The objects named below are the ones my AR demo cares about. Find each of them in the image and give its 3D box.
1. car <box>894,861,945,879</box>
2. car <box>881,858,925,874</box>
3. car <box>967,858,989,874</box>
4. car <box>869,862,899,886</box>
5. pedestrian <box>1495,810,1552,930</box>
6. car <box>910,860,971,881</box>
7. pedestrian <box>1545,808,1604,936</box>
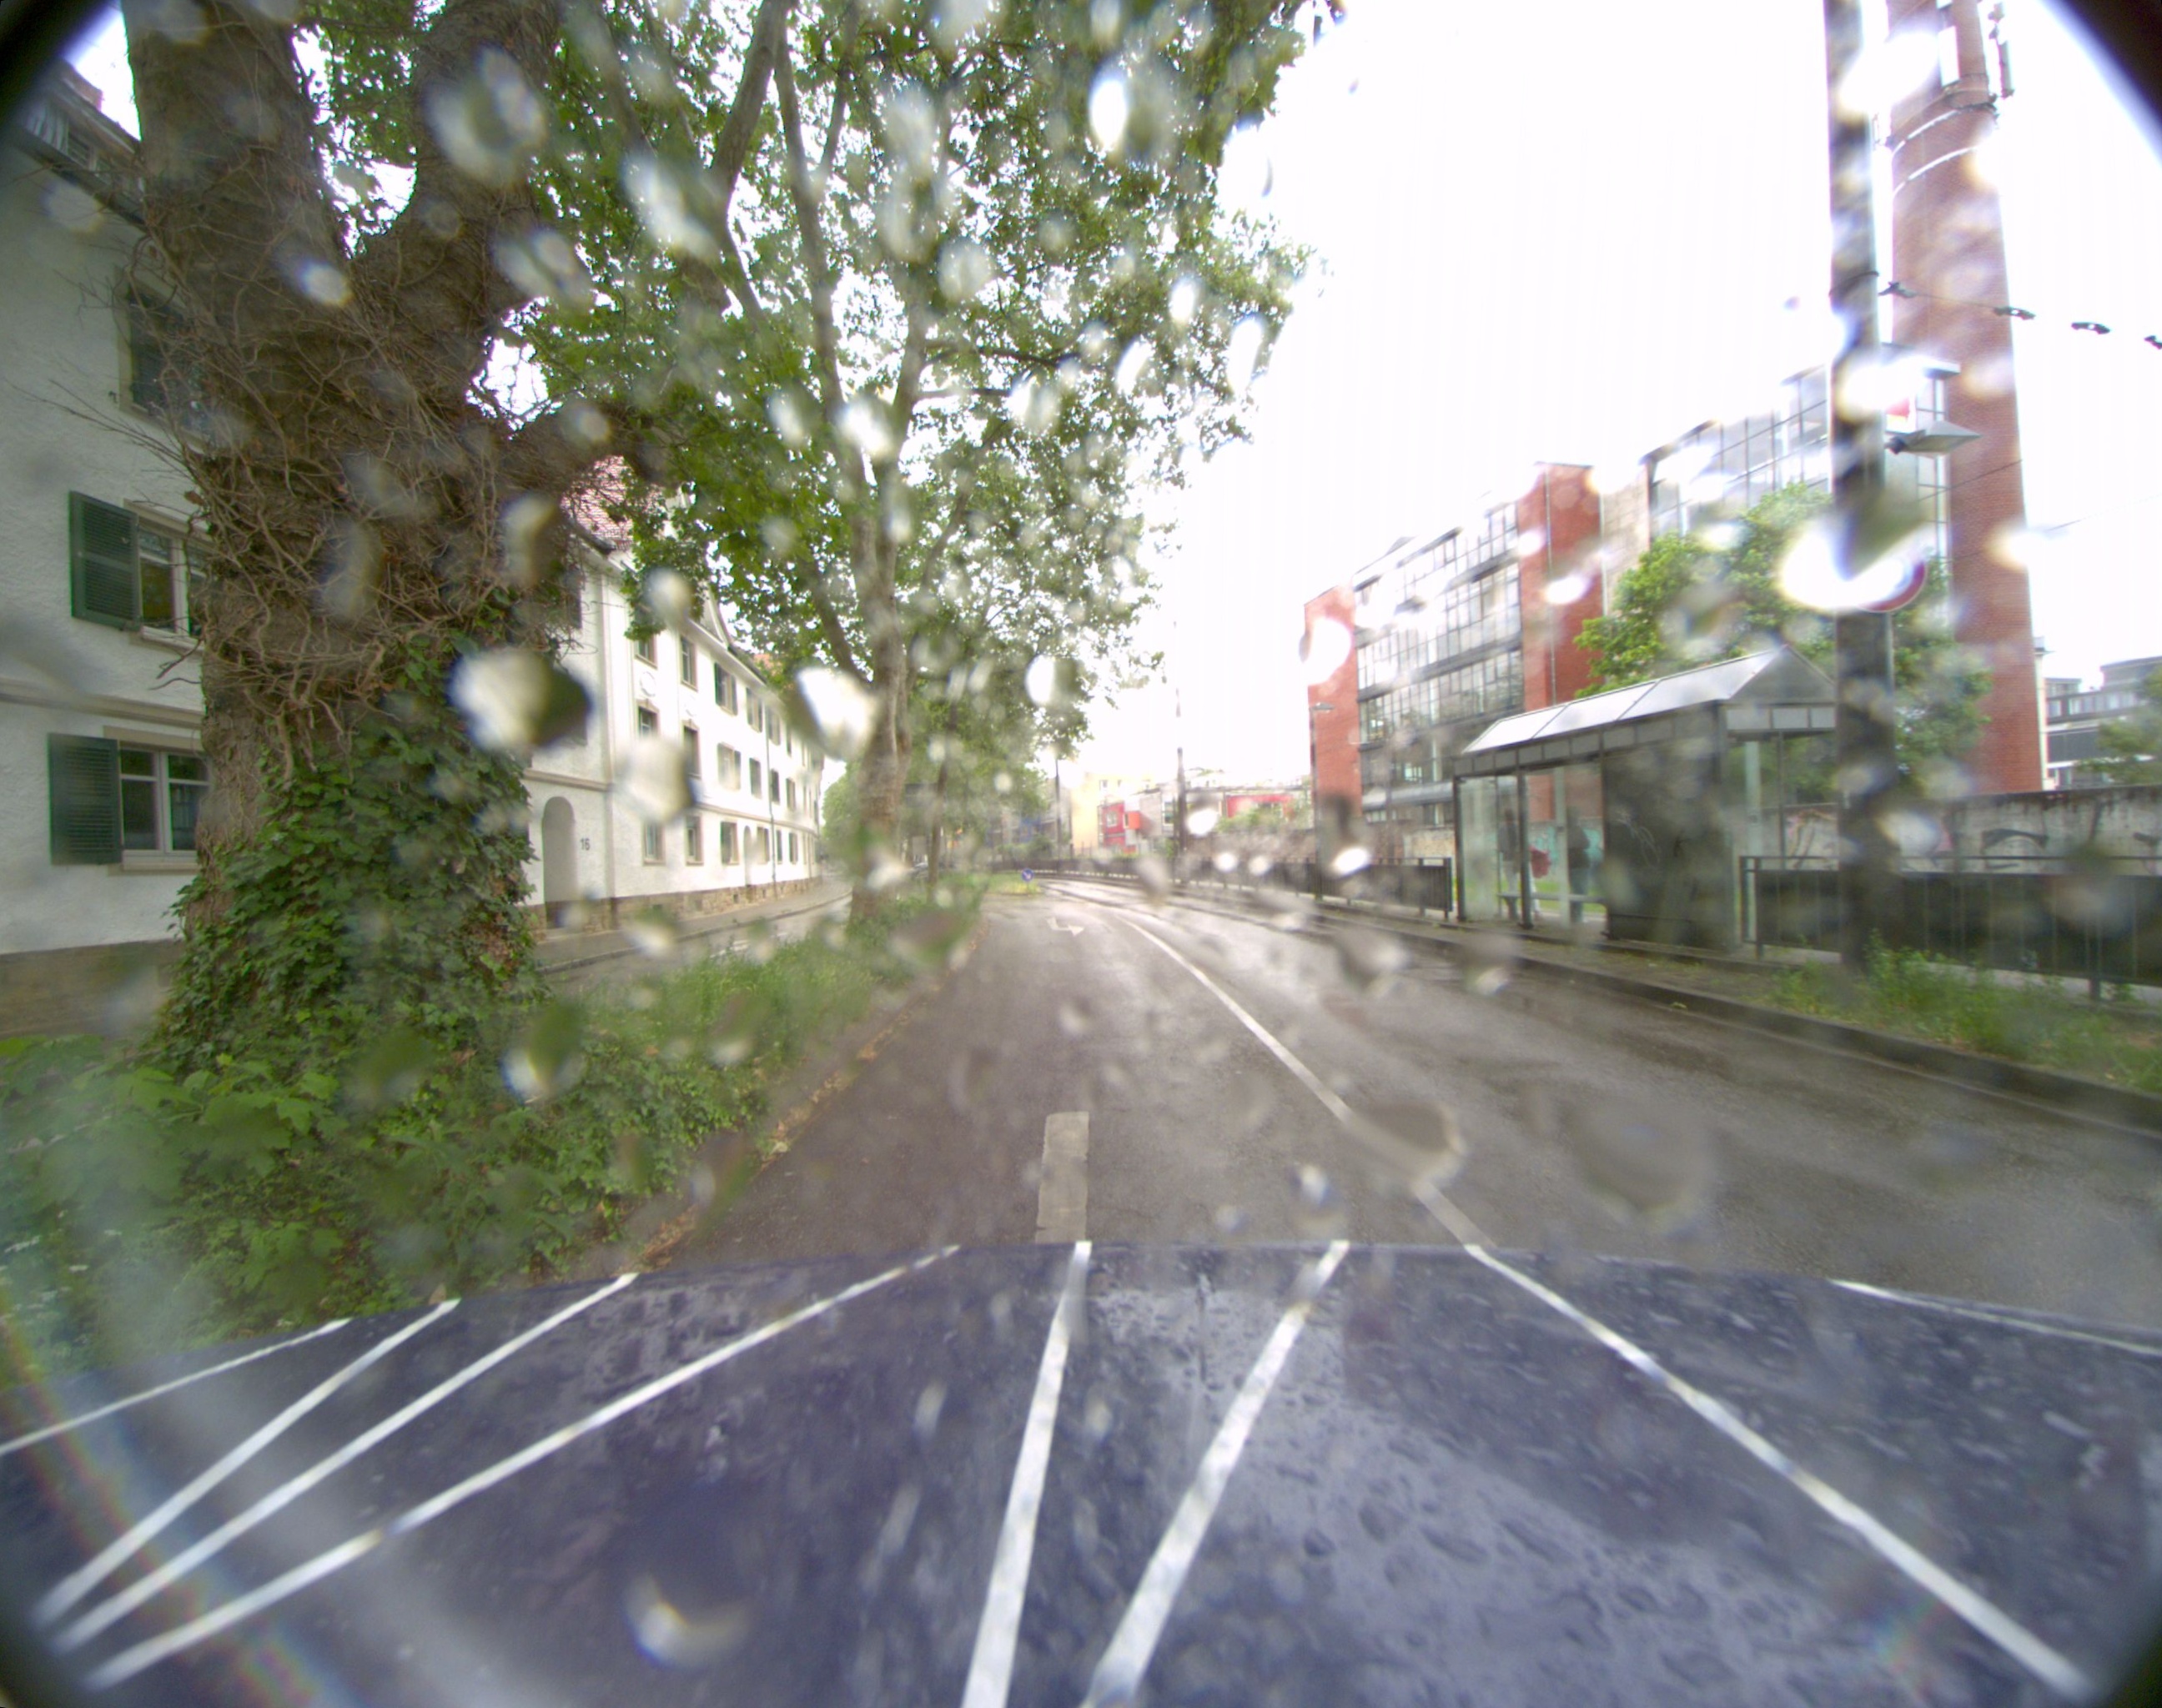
[{"bbox_3d":[-14.914,1.479,70.272,4.328,1.603,1.749,-1,0,6],"label":"car"},{"bbox_3d":[-22.219,1.501,94.700,4.884,2.002,2.002,-1,0,11],"label":"car"},{"bbox_3d":[-11.841,1.342,87.058,1.694,1.713,3.685,-1,0,-20],"label":"car"},{"bbox_3d":[-14.378,1.405,55.401,1.853,1.586,4.210,-2,0,-17],"label":"car"},{"bbox_3d":[6.570,0.229,11.277,0.584,1.721,0.566,-1,1,-41],"label":"pedestrian"},{"bbox_3d":[-10.842,1.292,58.763,4.224,1.532,1.932,-1,0,11],"label":"car"},{"bbox_3d":[6.891,0.242,10.603,0.584,1.721,0.566,-1,1,-43],"label":"pedestrian"}]
